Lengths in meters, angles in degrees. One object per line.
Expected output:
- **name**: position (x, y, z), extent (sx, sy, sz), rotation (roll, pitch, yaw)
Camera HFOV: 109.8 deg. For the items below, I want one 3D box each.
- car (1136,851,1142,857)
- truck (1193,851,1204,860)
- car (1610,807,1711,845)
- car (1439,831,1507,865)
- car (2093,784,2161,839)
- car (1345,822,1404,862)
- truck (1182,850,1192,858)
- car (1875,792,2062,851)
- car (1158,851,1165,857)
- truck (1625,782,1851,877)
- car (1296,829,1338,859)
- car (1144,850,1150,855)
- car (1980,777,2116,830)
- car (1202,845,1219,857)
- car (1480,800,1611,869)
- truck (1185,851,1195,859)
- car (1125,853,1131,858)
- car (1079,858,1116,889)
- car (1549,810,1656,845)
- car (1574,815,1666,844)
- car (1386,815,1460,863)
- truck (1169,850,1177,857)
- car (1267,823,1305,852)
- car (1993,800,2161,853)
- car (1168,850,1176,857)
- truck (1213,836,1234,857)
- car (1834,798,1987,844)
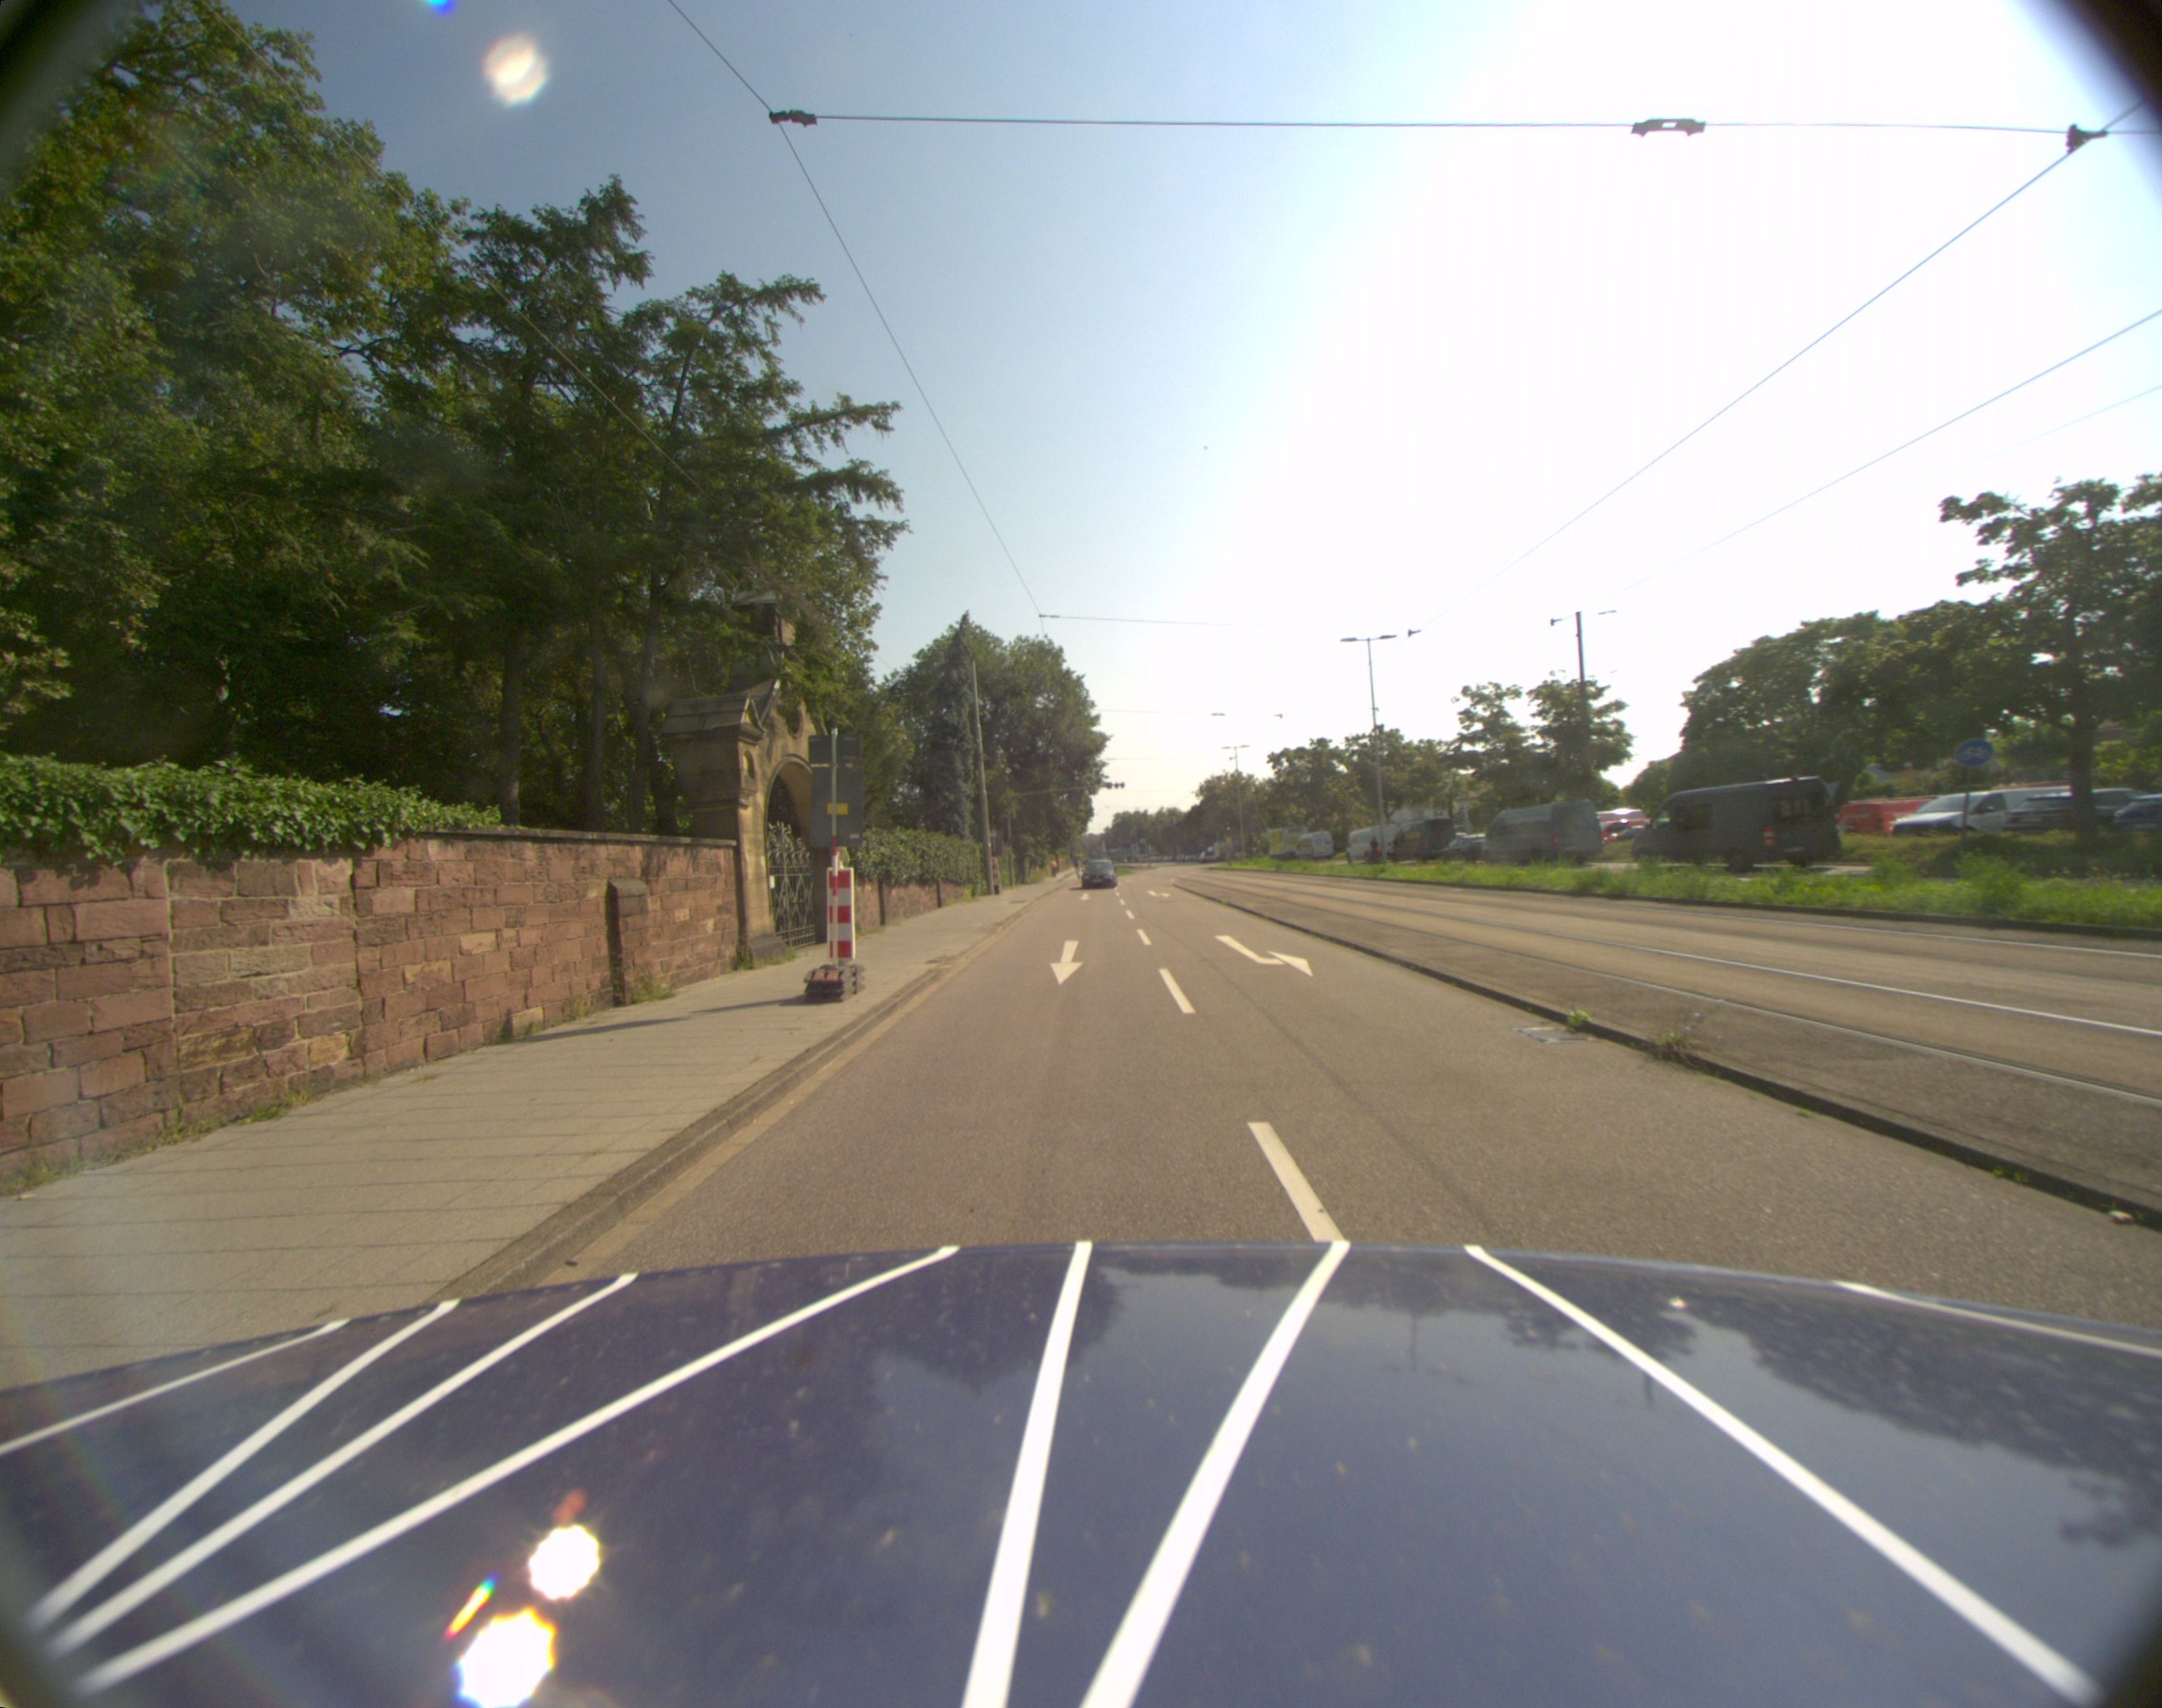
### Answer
- **car**: position (18.669, 0.005, 243.386), extent (1.550, 1.575, 3.455), rotation (-2, 0, 1)
- **truck**: position (23.431, 0.335, 151.315), extent (1.691, 1.665, 3.655), rotation (-2, 0, 2)
- **car**: position (31.532, -1.494, 41.428), extent (3.996, 1.827, 1.857), rotation (-2, 0, 2)
- **car**: position (20.525, -0.318, 39.962), extent (1.748, 1.543, 3.834), rotation (-5, 0, 4)
- **car**: position (30.291, -1.200, 20.633), extent (3.413, 1.418, 1.633), rotation (-2, 0, 0)
- **car**: position (20.786, -0.825, 54.164), extent (2.137, 2.571, 5.631), rotation (-2, 0, 2)
- **truck**: position (23.552, -0.089, 168.825), extent (1.691, 1.665, 3.655), rotation (-2, 0, 2)
- **car**: position (30.034, -1.073, 25.794), extent (4.409, 1.774, 1.633), rotation (-2, 1, 0)
- **car**: position (22.440, -0.087, 212.567), extent (1.550, 1.575, 3.455), rotation (-2, 0, 1)
- **truck**: position (20.033, -0.677, 23.650), extent (2.086, 2.533, 5.739), rotation (-2, 0, 1)
- **car**: position (21.163, -0.873, 68.367), extent (2.148, 2.444, 4.832), rotation (-2, 0, 0)
- **car**: position (20.058, -0.372, 231.595), extent (1.550, 1.575, 3.455), rotation (-2, 0, 1)
- **car**: position (45.007, -2.327, 35.422), extent (3.997, 2.085, 1.803), rotation (-4, 1, 0)
- **car**: position (17.728, -0.394, 104.170), extent (1.929, 1.510, 3.950), rotation (-2, 0, 4)
- **car**: position (20.245, -0.803, 33.575), extent (1.993, 2.571, 6.468), rotation (-5, 0, 3)
- **truck**: position (23.172, 0.206, 161.132), extent (1.691, 1.665, 3.655), rotation (-2, 0, 2)
- **car**: position (16.242, 0.638, 262.438), extent (1.550, 1.575, 3.455), rotation (-2, 0, 1)
- **car**: position (0.898, 0.976, 39.311), extent (1.776, 1.416, 3.935), rotation (-2, 0, 3)
- **car**: position (32.288, -1.605, 47.141), extent (5.198, 1.914, 2.053), rotation (-2, 0, 0)
- **car**: position (31.188, -1.408, 44.045), extent (3.996, 1.442, 1.857), rotation (-2, 0, 2)
- **car**: position (20.532, -0.818, 45.904), extent (1.826, 2.571, 5.911), rotation (-5, 0, 3)
- **truck**: position (22.827, -0.130, 189.041), extent (1.691, 1.665, 3.655), rotation (-2, 0, 2)
- **car**: position (20.960, -1.630, 78.077), extent (2.129, 2.789, 7.232), rotation (-2, 0, 2)
- **car**: position (30.439, -0.816, 23.110), extent (3.413, 1.418, 1.633), rotation (-2, 0, 0)
- **car**: position (23.312, -0.159, 195.268), extent (1.550, 1.758, 3.645), rotation (-2, 0, 1)
- **truck**: position (22.716, -1.158, 121.253), extent (2.278, 3.103, 8.789), rotation (-2, 0, 4)
- **car**: position (30.993, -1.219, 28.465), extent (3.933, 1.509, 1.633), rotation (-2, 0, 0)
